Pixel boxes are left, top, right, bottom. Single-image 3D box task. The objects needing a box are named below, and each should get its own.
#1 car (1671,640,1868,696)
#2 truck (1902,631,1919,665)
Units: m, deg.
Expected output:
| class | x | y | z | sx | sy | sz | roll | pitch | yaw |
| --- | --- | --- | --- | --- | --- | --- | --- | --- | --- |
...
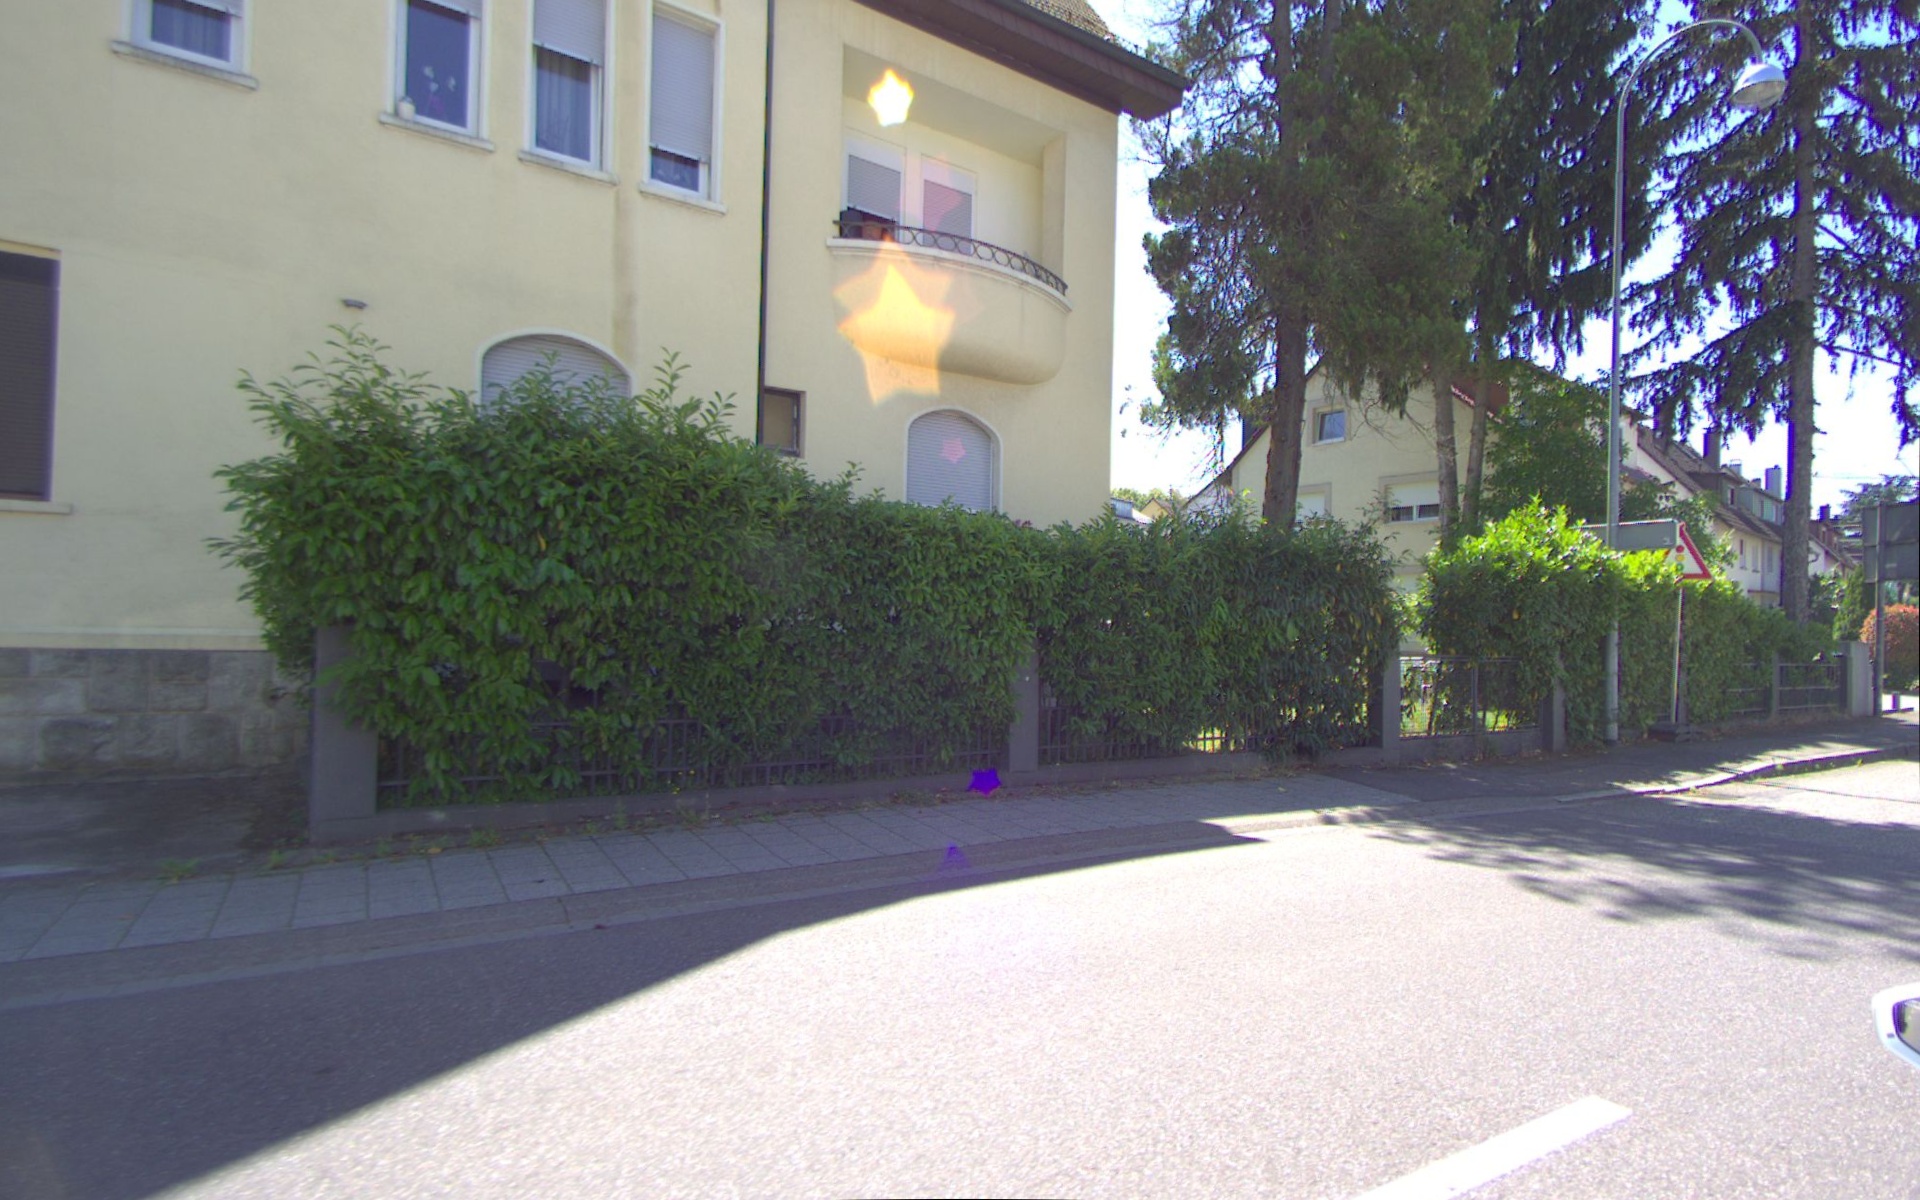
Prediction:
| class | x | y | z | sx | sy | sz | roll | pitch | yaw |
| --- | --- | --- | --- | --- | --- | --- | --- | --- | --- |
| car | 24.938 | 2.051 | 31.110 | 1.828 | 1.460 | 4.440 | 2 | -1 | -34 |
| truck | 56.621 | 2.765 | 57.534 | 1.535 | 1.963 | 3.733 | 2 | -2 | -42 |
